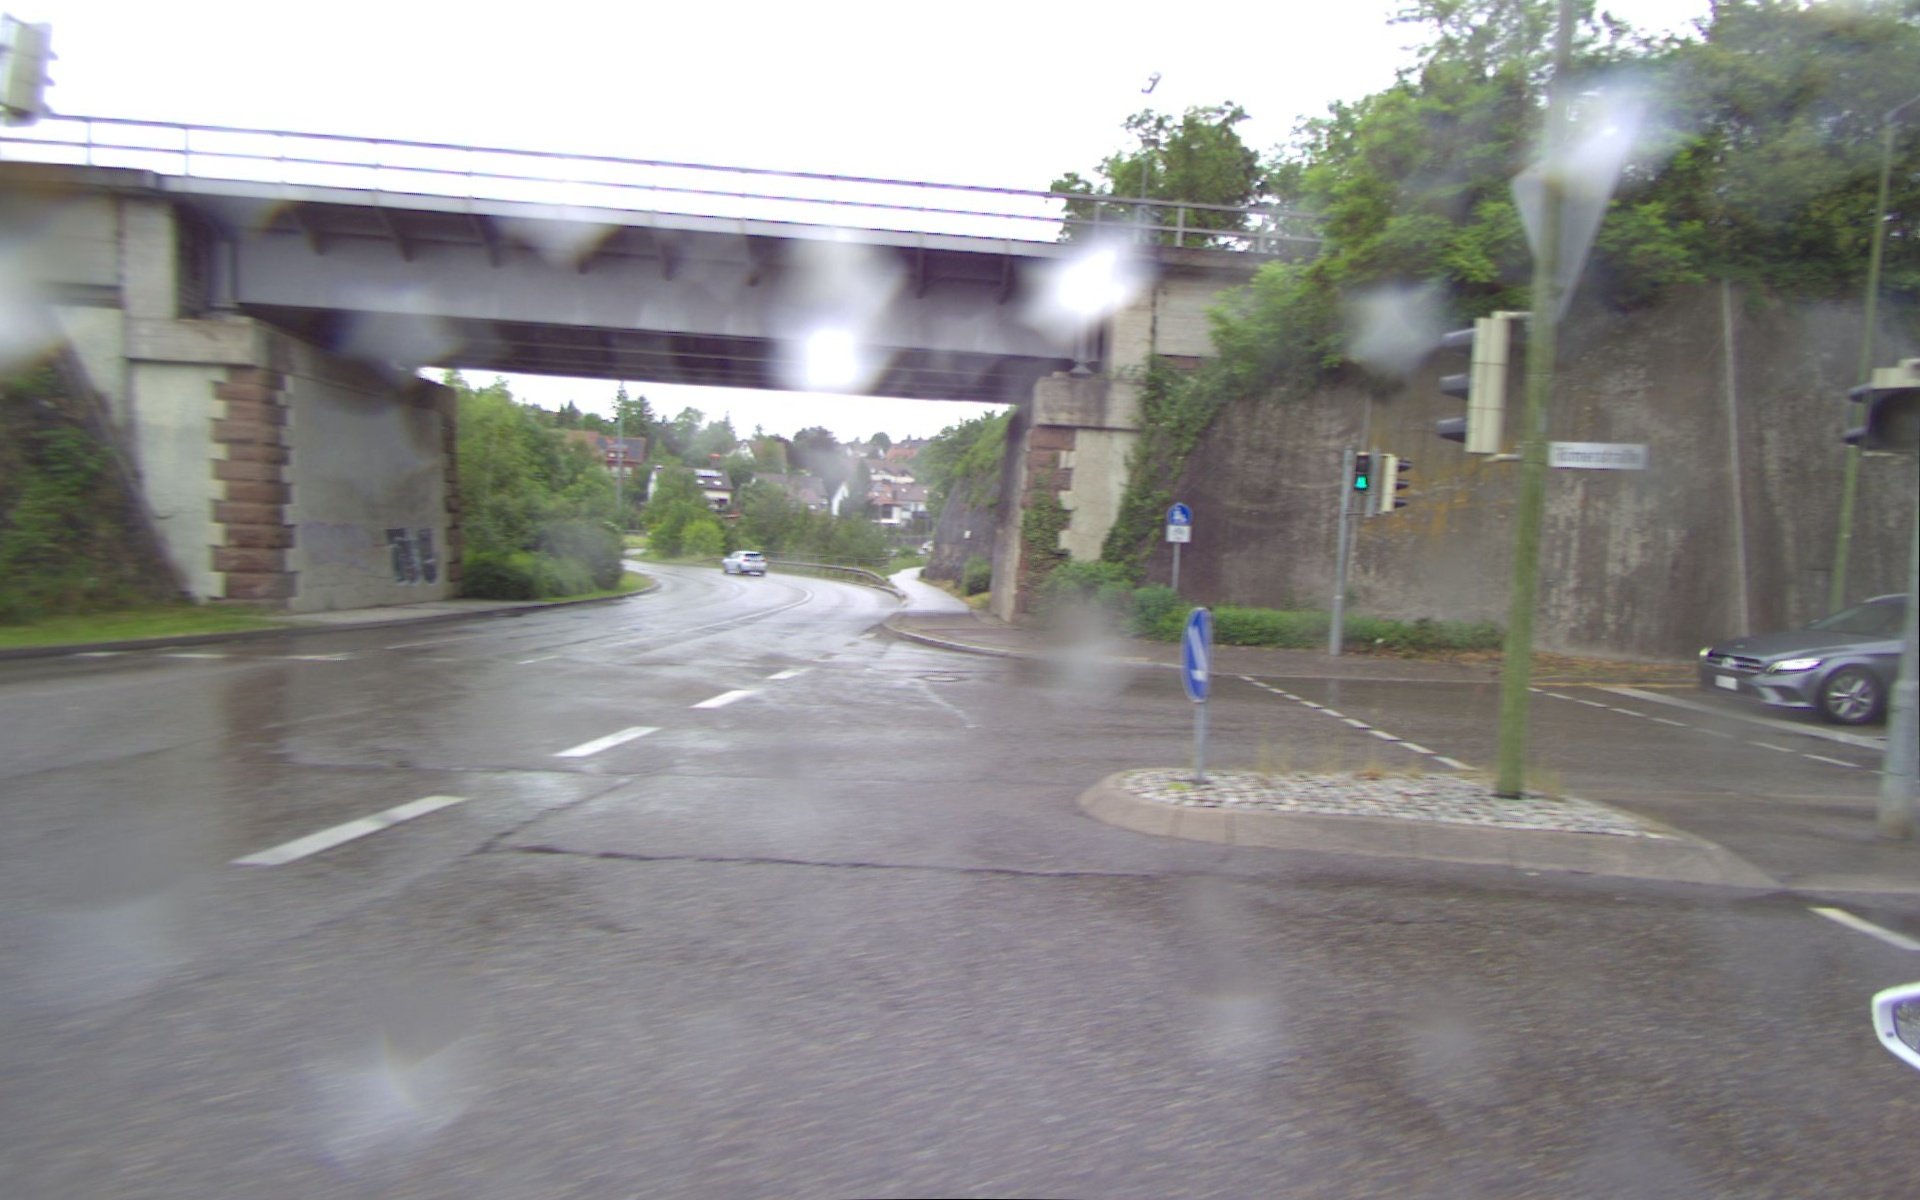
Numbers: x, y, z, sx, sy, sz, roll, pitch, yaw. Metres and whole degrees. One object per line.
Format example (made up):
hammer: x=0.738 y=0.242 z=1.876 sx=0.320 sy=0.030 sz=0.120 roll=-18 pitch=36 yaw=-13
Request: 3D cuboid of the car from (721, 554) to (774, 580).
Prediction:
car: x=-13.568 y=-2.066 z=63.991 sx=1.979 sy=1.583 sz=3.963 roll=1 pitch=1 yaw=-33

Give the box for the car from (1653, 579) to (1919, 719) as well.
car: x=11.414 y=0.562 z=12.136 sx=4.635 sy=1.523 sz=2.000 roll=1 pitch=1 yaw=2
